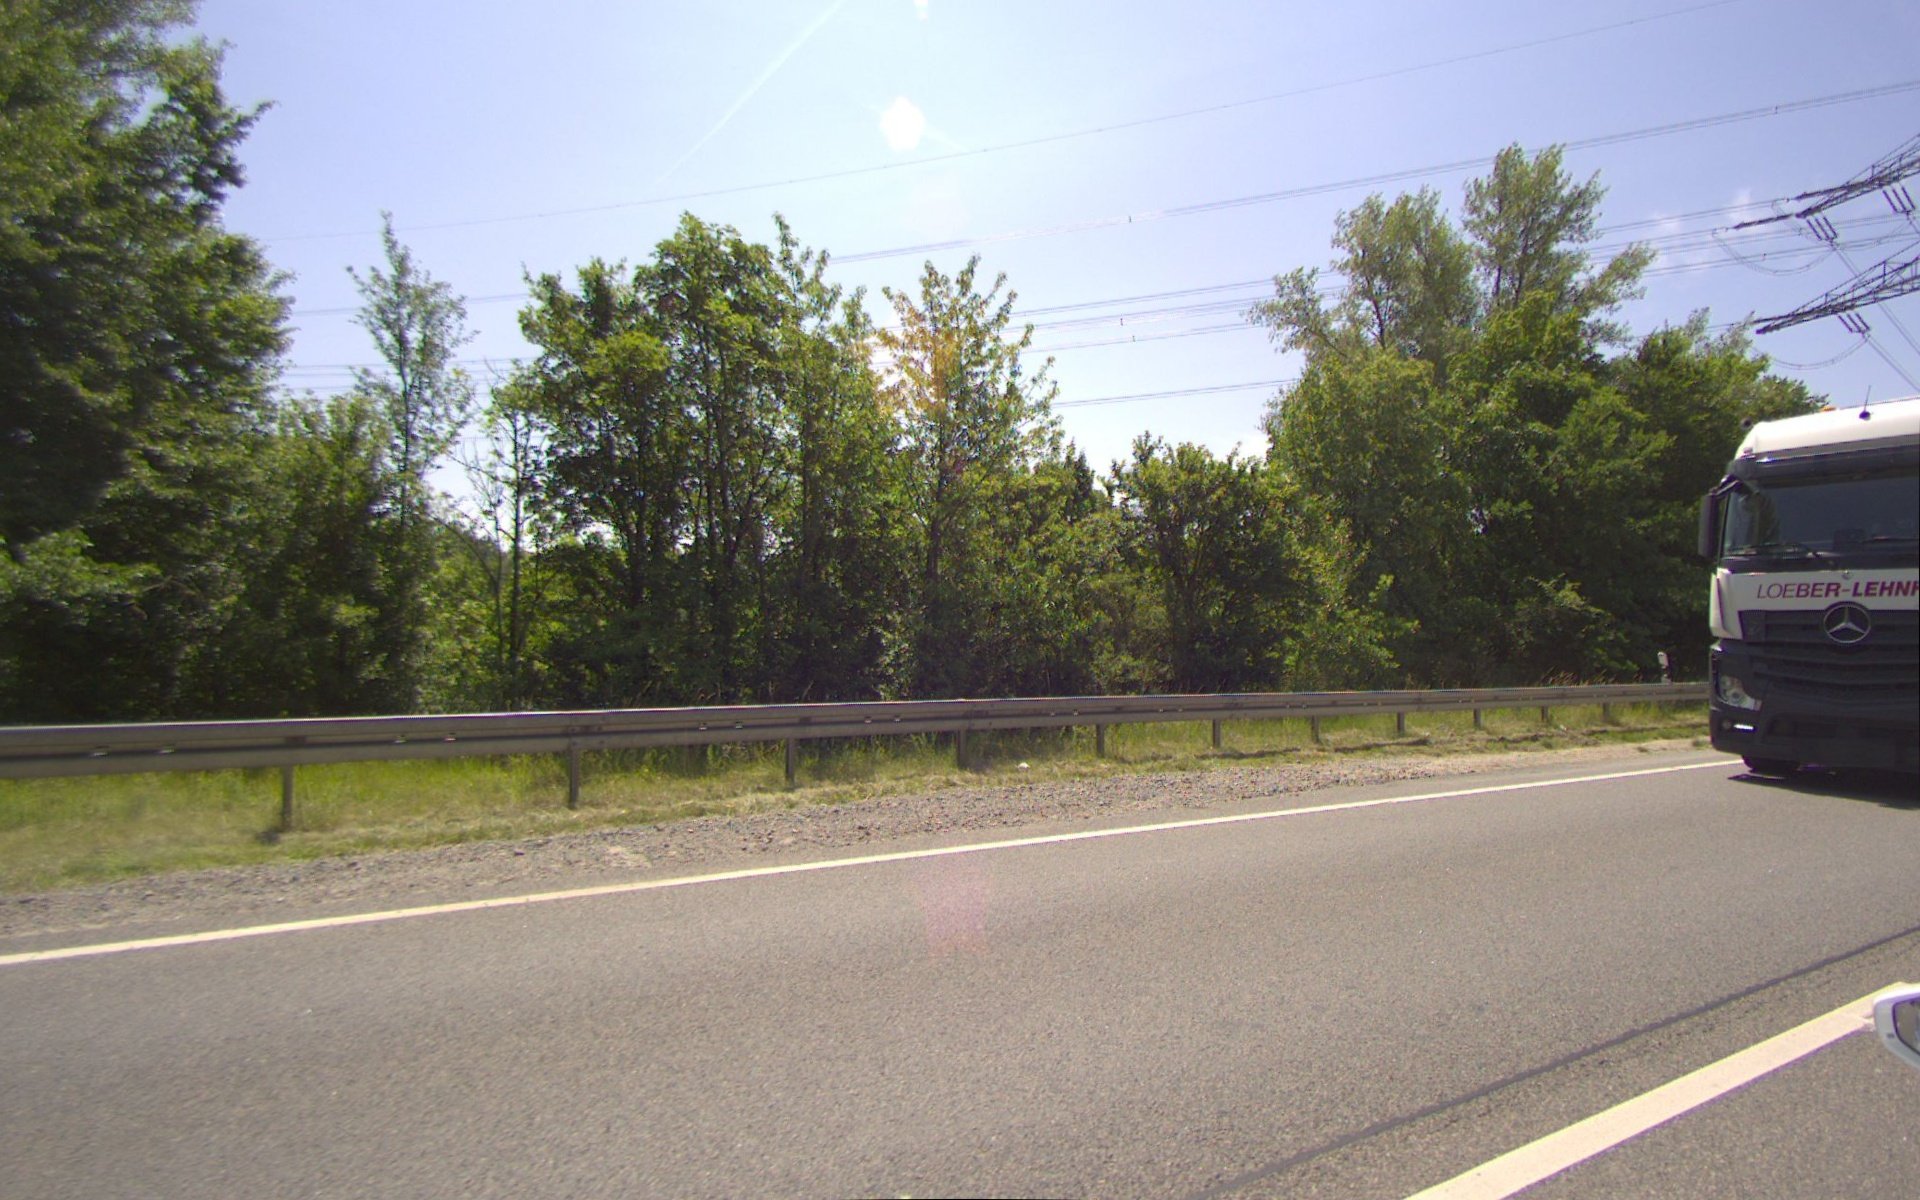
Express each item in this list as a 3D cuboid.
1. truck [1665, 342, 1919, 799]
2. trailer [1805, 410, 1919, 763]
[{"bbox_3d":[10.688,-0.182,10.949,5.838,4.052,2.750,1,-2,-31],"label":"truck"},{"bbox_3d":[16.965,-0.010,14.690,13.527,4.052,2.750,2,-2,-31],"label":"trailer"}]
